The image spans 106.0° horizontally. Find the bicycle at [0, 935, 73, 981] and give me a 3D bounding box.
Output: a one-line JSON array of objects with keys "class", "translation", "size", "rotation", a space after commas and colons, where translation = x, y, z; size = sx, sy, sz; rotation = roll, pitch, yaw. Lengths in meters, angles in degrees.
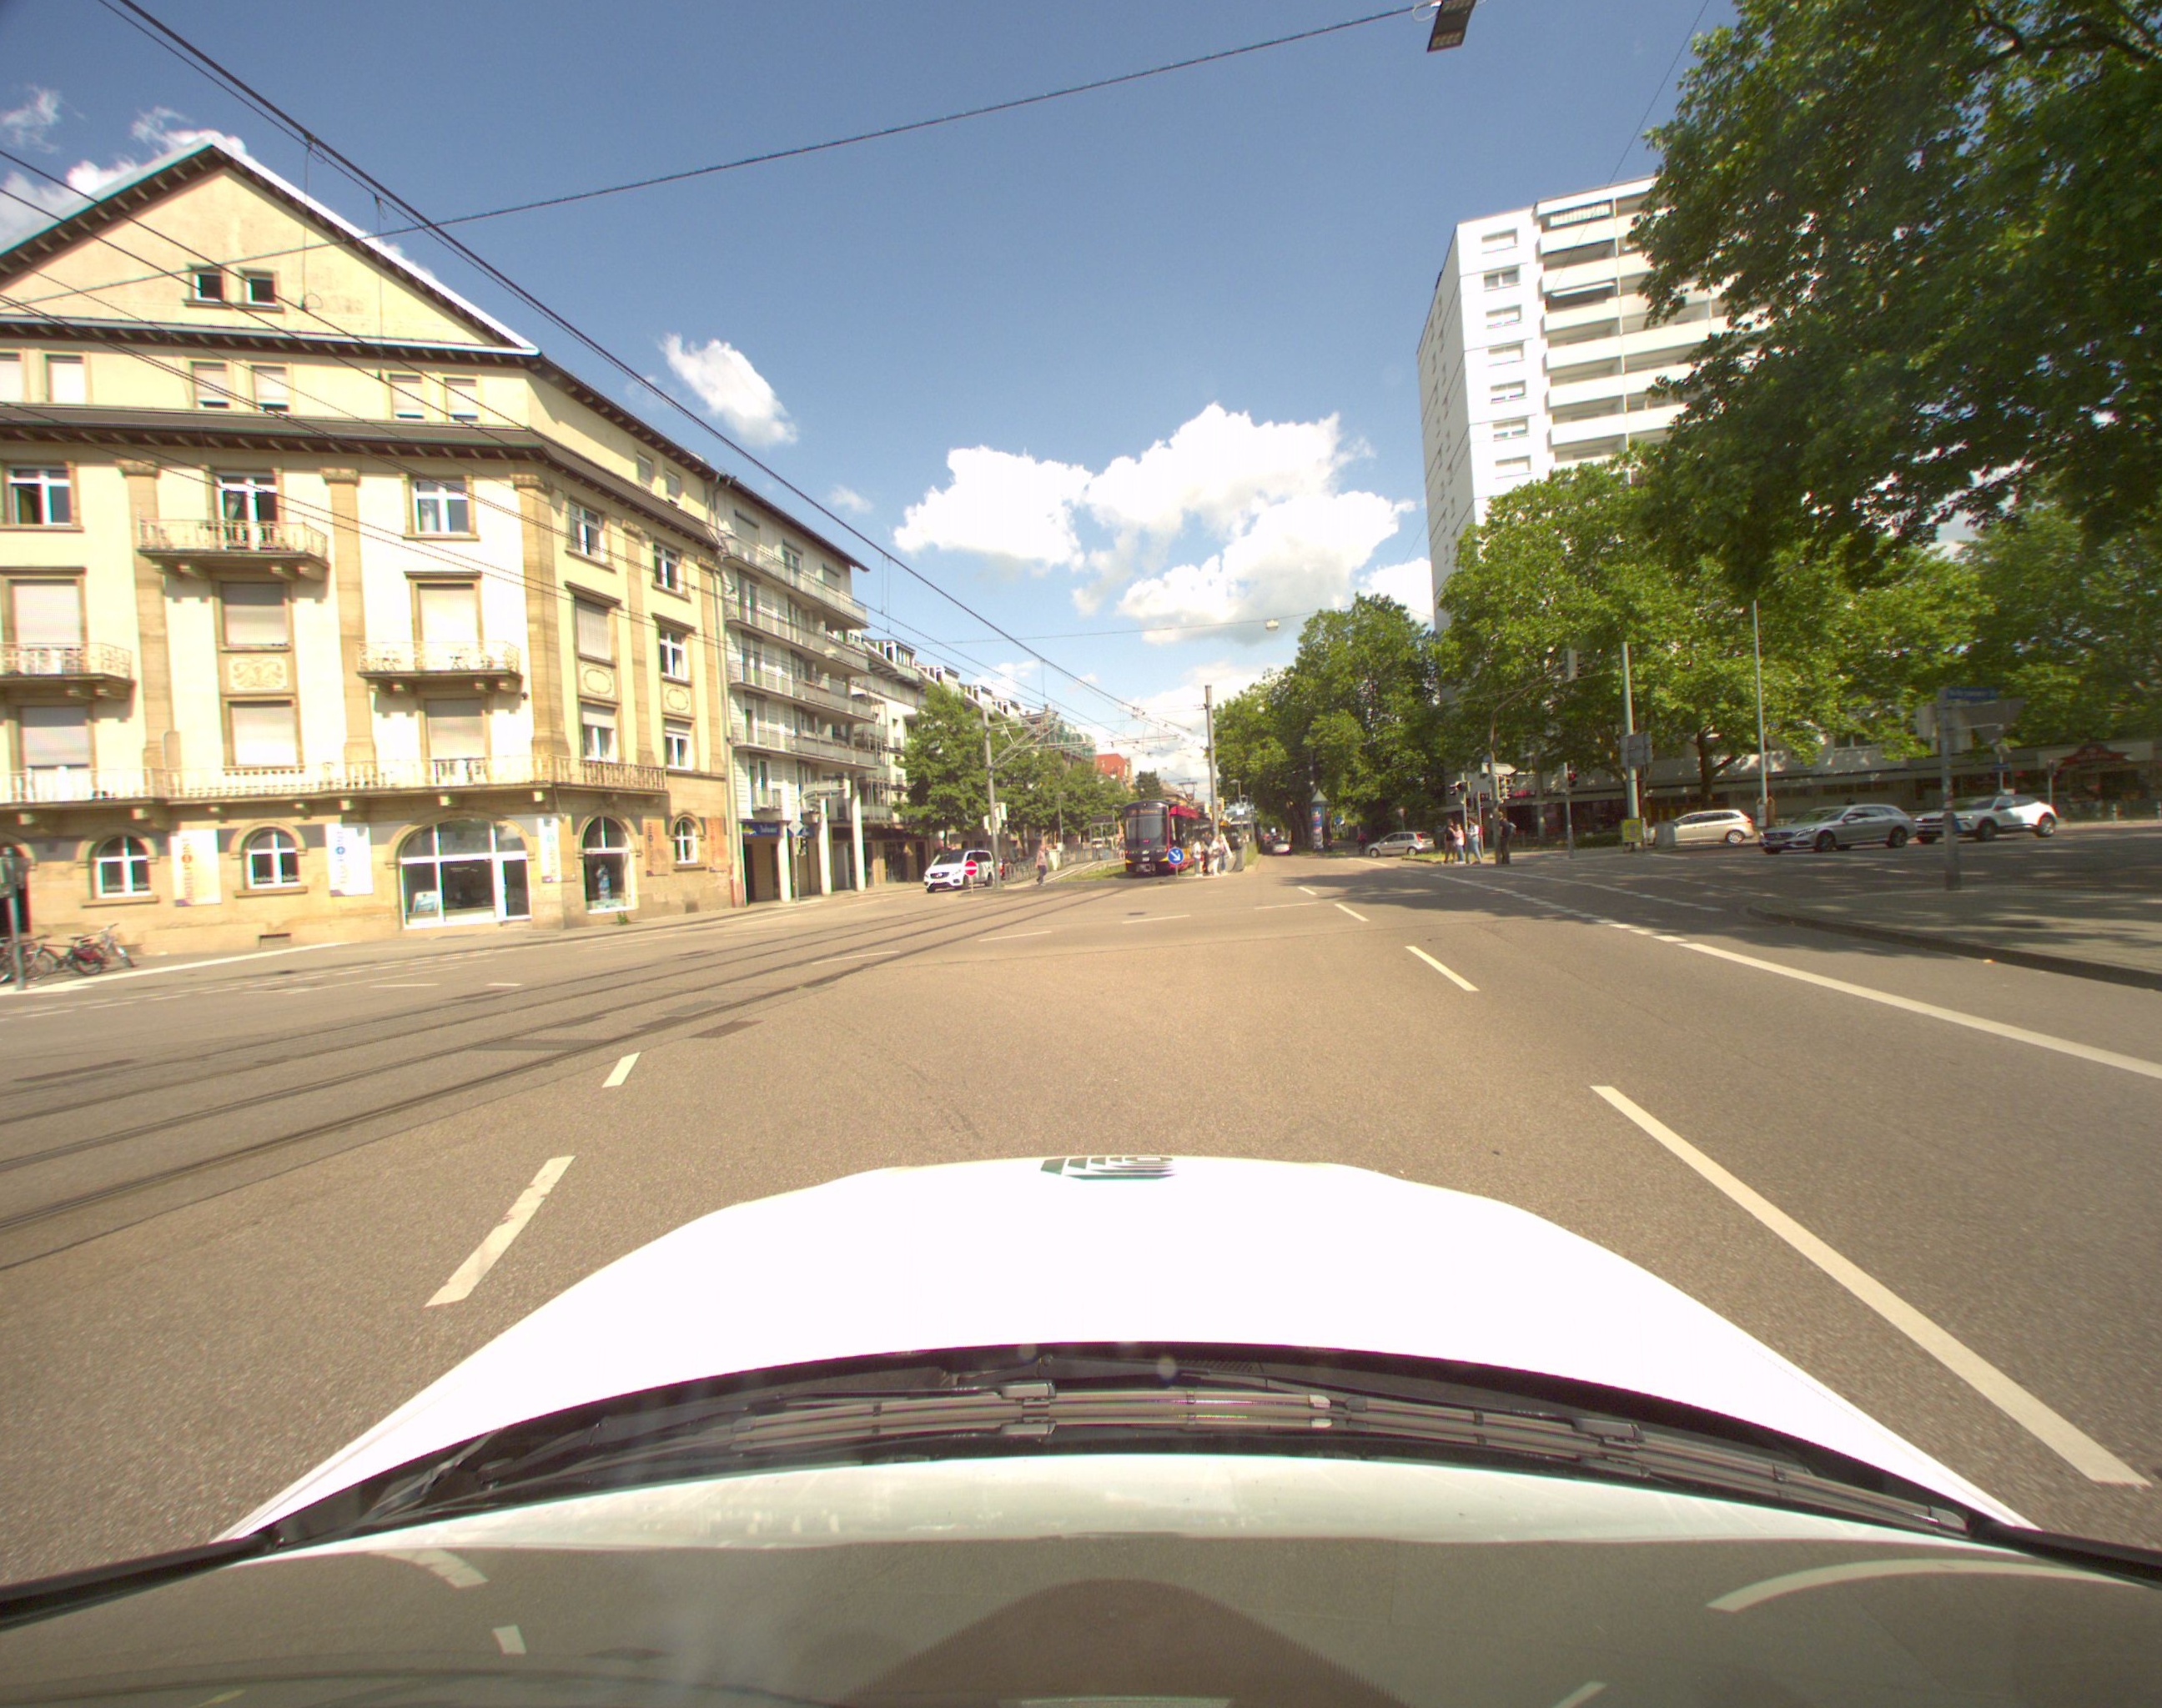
[{"class": "bicycle", "translation": [-27.427, 2.711, 20.956], "size": [1.922, 1.018, 0.539], "rotation": [-4, 3, -9]}]

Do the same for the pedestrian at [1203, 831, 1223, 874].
[{"class": "pedestrian", "translation": [5.438, -0.056, 33.540], "size": [0.664, 1.702, 0.651], "rotation": [-4, 0, 15]}]

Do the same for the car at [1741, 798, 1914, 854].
[{"class": "car", "translation": [24.058, -0.880, 26.336], "size": [3.980, 1.490, 1.858], "rotation": [-4, 0, -4]}]

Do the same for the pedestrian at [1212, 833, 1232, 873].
[{"class": "pedestrian", "translation": [6.144, -0.062, 35.477], "size": [0.664, 1.702, 0.651], "rotation": [-4, 0, 15]}]

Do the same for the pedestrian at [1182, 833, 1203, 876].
[{"class": "pedestrian", "translation": [4.621, 0.011, 33.747], "size": [0.664, 1.702, 0.651], "rotation": [-4, 0, 15]}]

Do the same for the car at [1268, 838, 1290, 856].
[{"class": "car", "translation": [17.969, -0.667, 73.785], "size": [1.735, 1.453, 3.621], "rotation": [-4, 0, 15]}]

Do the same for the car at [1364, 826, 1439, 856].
[{"class": "car", "translation": [18.575, -0.764, 47.313], "size": [1.745, 1.484, 3.629], "rotation": [-4, 0, -39]}]

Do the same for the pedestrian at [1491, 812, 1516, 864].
[{"class": "pedestrian", "translation": [15.217, -0.589, 29.338], "size": [0.559, 1.825, 0.476], "rotation": [-4, 0, -35]}]

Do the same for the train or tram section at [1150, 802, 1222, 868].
[{"class": "train or tram section", "translation": [6.907, -1.231, 51.688], "size": [2.785, 3.560, 11.228], "rotation": [-4, 0, 15]}]

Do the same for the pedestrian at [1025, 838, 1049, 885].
[{"class": "pedestrian", "translation": [-1.910, 0.327, 35.493], "size": [0.732, 2.013, 0.707], "rotation": [-4, 0, 18]}]

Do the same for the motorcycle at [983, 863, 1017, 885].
[{"class": "motorcycle", "translation": [-4.505, 1.111, 45.562], "size": [0.887, 1.023, 3.113], "rotation": [-4, 0, 13]}]

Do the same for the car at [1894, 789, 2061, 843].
[{"class": "car", "translation": [30.353, -1.263, 27.615], "size": [4.062, 1.490, 1.855], "rotation": [-4, 0, -9]}]

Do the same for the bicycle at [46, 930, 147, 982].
[{"class": "bicycle", "translation": [-25.074, 2.572, 20.786], "size": [0.609, 1.018, 1.867], "rotation": [-4, 2, -15]}]

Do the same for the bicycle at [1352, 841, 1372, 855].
[{"class": "bicycle", "translation": [19.161, -0.408, 55.575], "size": [0.613, 0.880, 2.540], "rotation": [-4, 0, 4]}]

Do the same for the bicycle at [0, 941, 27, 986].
[{"class": "bicycle", "translation": [-26.444, 2.712, 19.143], "size": [0.596, 1.018, 1.885], "rotation": [-3, 2, 14]}]

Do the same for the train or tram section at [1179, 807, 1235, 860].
[{"class": "train or tram section", "translation": [9.931, -1.570, 62.970], "size": [2.785, 3.560, 12.206], "rotation": [-4, 0, 15]}]

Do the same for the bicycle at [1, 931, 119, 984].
[{"class": "bicycle", "translation": [-25.853, 2.600, 20.679], "size": [0.606, 1.018, 1.875], "rotation": [-4, 2, -3]}]

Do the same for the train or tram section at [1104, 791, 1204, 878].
[{"class": "train or tram section", "translation": [3.971, -0.960, 40.774], "size": [2.775, 3.560, 11.424], "rotation": [-4, 0, 15]}]

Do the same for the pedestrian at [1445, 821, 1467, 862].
[{"class": "pedestrian", "translation": [14.964, -0.483, 32.520], "size": [0.510, 1.597, 0.555], "rotation": [-4, 0, -8]}]

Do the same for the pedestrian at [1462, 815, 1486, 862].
[{"class": "pedestrian", "translation": [14.983, -0.597, 31.048], "size": [0.527, 1.735, 0.555], "rotation": [-4, 0, -8]}]

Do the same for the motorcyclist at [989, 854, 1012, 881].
[{"class": "motorcyclist", "translation": [-4.499, 0.758, 45.724], "size": [0.887, 1.404, 1.092], "rotation": [-4, 0, 13]}]

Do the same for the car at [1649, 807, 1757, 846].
[{"class": "car", "translation": [29.046, -1.284, 38.198], "size": [3.799, 1.490, 1.873], "rotation": [-4, 0, 32]}]

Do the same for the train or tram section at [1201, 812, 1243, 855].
[{"class": "train or tram section", "translation": [12.806, -1.822, 73.178], "size": [2.746, 3.482, 8.943], "rotation": [-4, 0, 15]}]

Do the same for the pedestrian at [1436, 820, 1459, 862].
[{"class": "pedestrian", "translation": [14.895, -0.526, 33.098], "size": [0.510, 1.670, 0.555], "rotation": [-4, 0, -8]}]

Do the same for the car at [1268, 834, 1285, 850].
[{"class": "car", "translation": [26.030, -1.584, 108.321], "size": [1.978, 2.013, 4.017], "rotation": [-2, 1, 16]}]

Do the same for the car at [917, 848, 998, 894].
[{"class": "car", "translation": [-5.841, 0.753, 39.285], "size": [1.980, 1.891, 5.191], "rotation": [-4, 0, 13]}]

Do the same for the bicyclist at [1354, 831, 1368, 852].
[{"class": "bicyclist", "translation": [19.145, -0.868, 55.773], "size": [0.613, 1.384, 0.879], "rotation": [-4, 0, 4]}]
